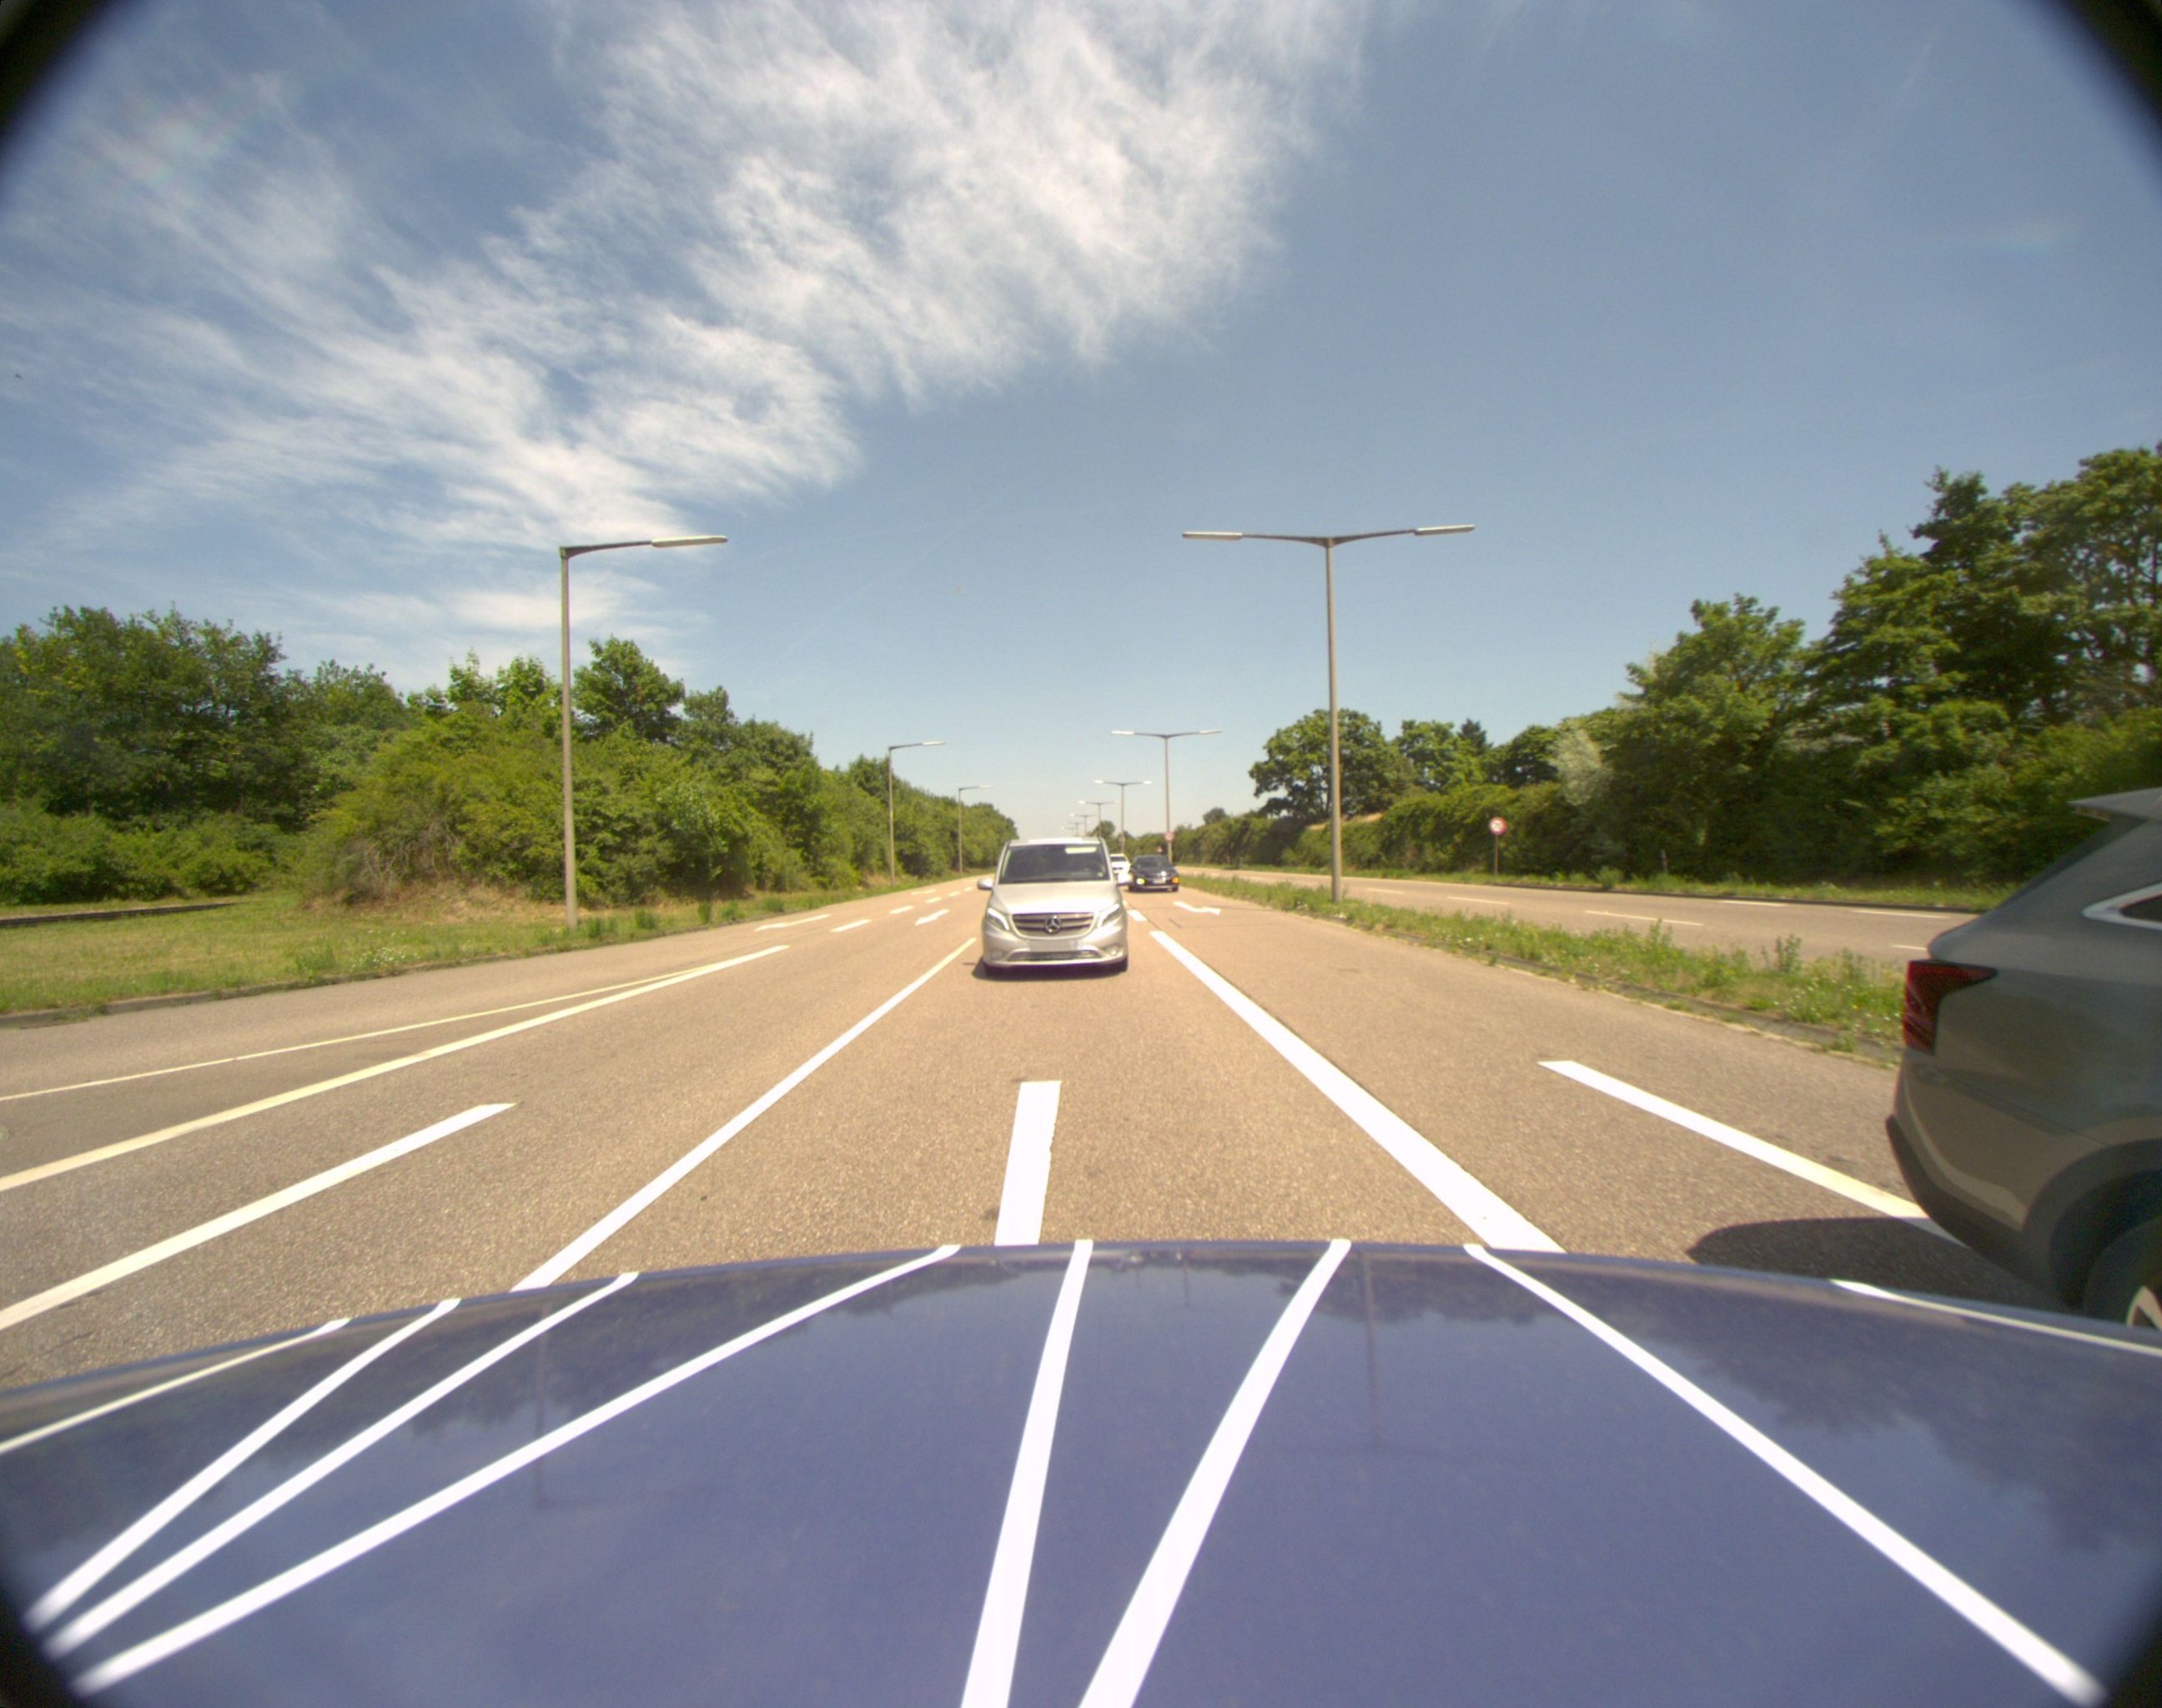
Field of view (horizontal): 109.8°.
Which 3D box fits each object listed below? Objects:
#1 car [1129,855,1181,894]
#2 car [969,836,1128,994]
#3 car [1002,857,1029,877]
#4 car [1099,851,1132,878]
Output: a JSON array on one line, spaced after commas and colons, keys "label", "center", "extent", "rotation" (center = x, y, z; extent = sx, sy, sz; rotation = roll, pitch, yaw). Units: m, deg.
[{"label": "car", "center": [3.070, 0.814, 32.154], "extent": [1.753, 1.491, 4.000], "rotation": [-2, 0, 0]}, {"label": "car", "center": [-0.336, 0.732, 11.985], "extent": [1.876, 1.866, 5.732], "rotation": [-1, 0, 1]}, {"label": "car", "center": [-5.428, 1.029, 63.110], "extent": [1.722, 1.587, 4.001], "rotation": [-1, 0, 2]}, {"label": "car", "center": [2.273, 0.674, 50.393], "extent": [1.921, 1.661, 4.001], "rotation": [-1, 1, -1]}]
